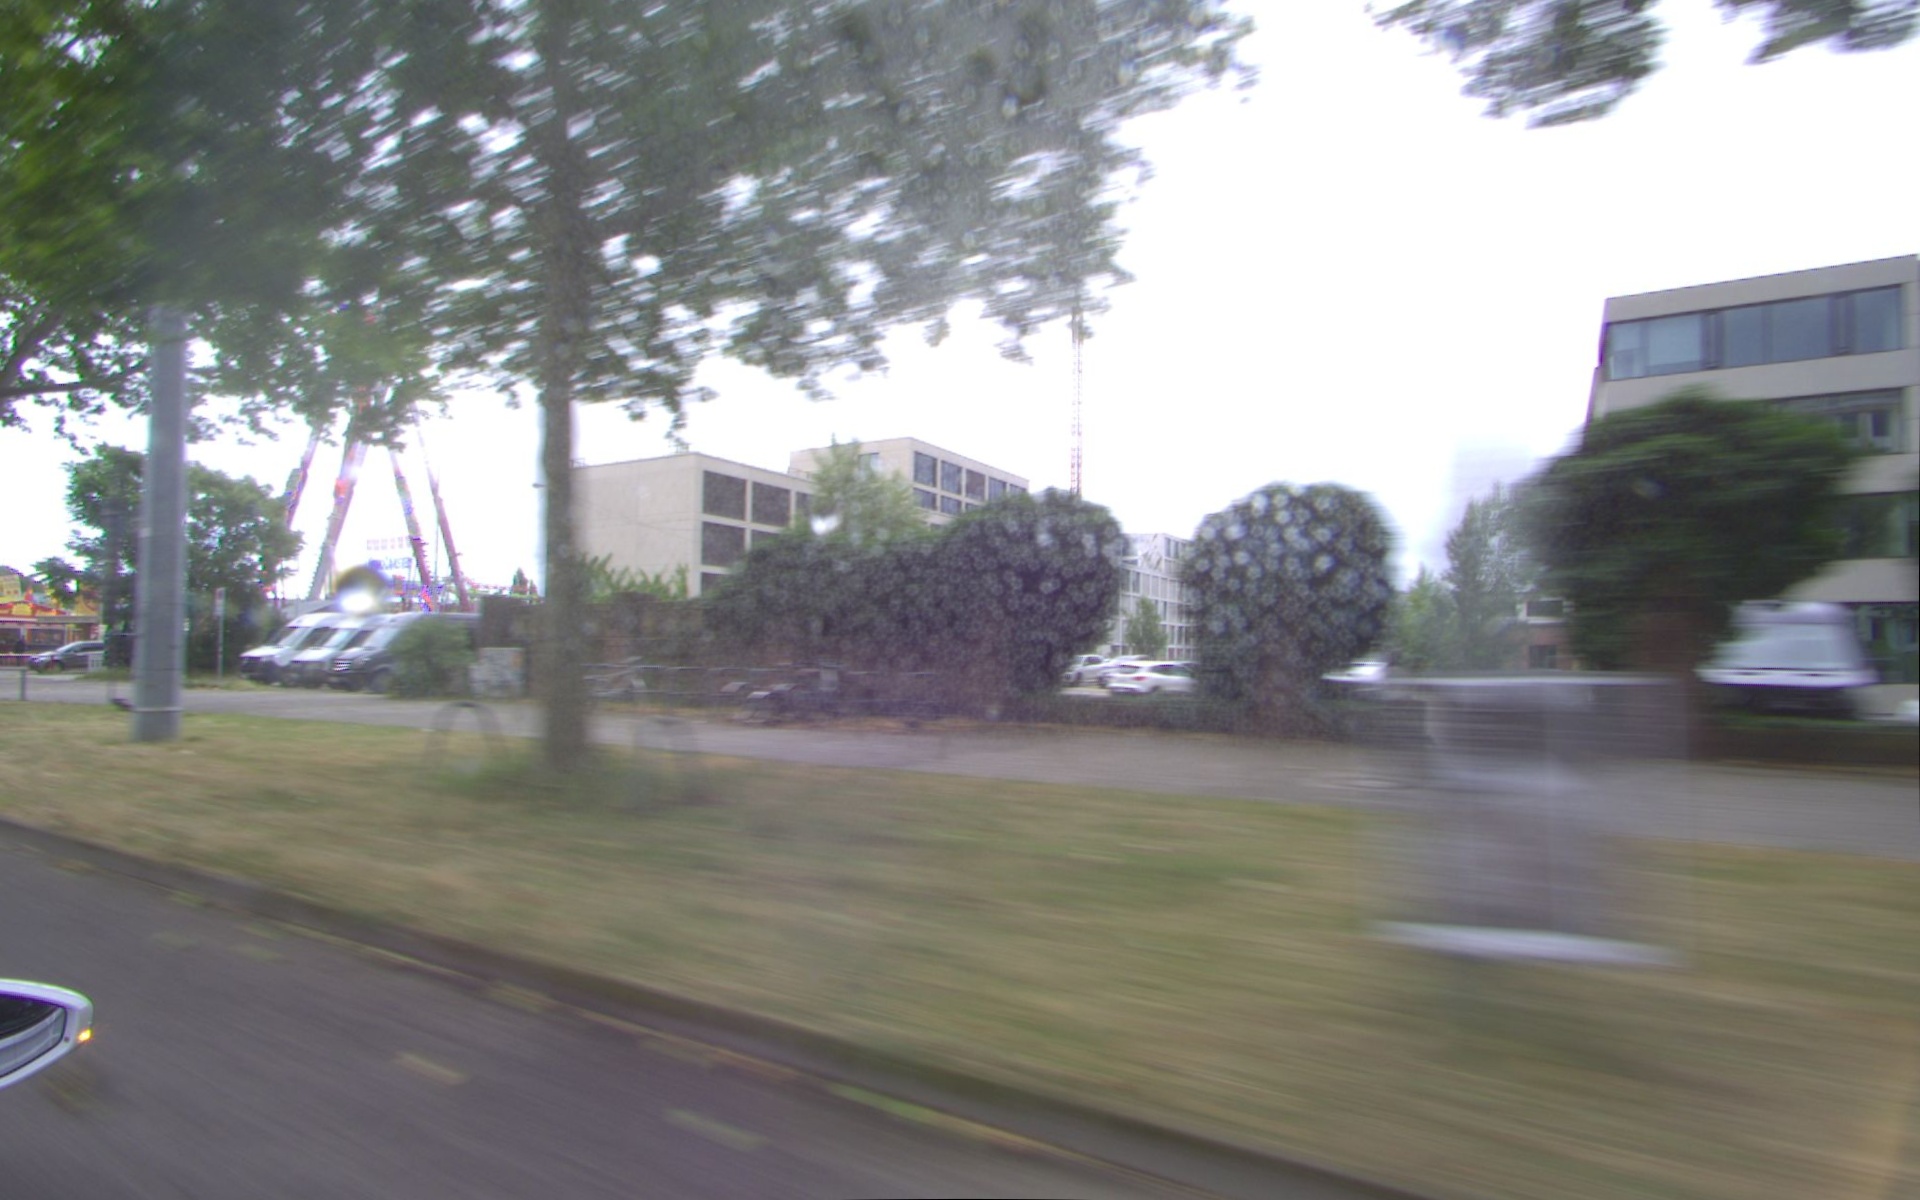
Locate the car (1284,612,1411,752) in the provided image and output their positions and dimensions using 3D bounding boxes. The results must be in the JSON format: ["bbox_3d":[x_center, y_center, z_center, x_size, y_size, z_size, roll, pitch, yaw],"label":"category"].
[{"bbox_3d":[7.497,1.538,19.085,1.640,2.291,5.096,-1,-4,28],"label":"car"}]

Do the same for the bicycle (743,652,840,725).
[{"bbox_3d":[-2.803,1.457,16.846,0.541,1.111,1.898,-1,-2,29],"label":"bicycle"}]

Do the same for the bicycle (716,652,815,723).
[{"bbox_3d":[-3.309,1.471,17.226,0.541,1.108,1.973,-1,-2,29],"label":"bicycle"}]

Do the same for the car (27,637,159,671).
[{"bbox_3d":[-43.323,2.724,50.161,1.970,1.595,4.571,-1,-4,30],"label":"car"}]

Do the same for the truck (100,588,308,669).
[{"bbox_3d":[-38.806,1.594,51.809,2.561,3.869,8.186,-1,-3,30],"label":"truck"}]

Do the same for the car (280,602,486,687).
[{"bbox_3d":[-19.605,1.637,34.373,2.010,2.565,5.785,-1,-5,30],"label":"car"}]

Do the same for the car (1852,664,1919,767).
[{"bbox_3d":[14.295,1.603,13.672,1.973,1.428,5.097,-1,-5,28],"label":"car"}]

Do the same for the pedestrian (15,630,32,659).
[{"bbox_3d":[-56.778,2.703,60.707,0.485,1.708,0.523,0,-2,15],"label":"pedestrian"}]

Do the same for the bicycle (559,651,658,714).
[{"bbox_3d":[-6.683,1.544,19.149,0.541,1.105,1.920,-1,-2,29],"label":"bicycle"}]

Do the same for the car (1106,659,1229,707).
[{"bbox_3d":[7.608,2.984,36.565,4.356,1.638,1.987,3,-4,-35],"label":"car"}]

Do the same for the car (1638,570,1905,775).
[{"bbox_3d":[11.607,1.114,14.794,2.043,2.450,5.235,-1,-5,28],"label":"car"}]

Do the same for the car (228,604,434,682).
[{"bbox_3d":[-22.435,1.596,36.077,2.068,2.587,6.021,-1,-3,29],"label":"car"}]

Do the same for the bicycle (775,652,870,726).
[{"bbox_3d":[-2.256,1.443,16.655,0.541,1.119,1.888,-1,-2,29],"label":"bicycle"}]

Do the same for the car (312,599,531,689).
[{"bbox_3d":[-17.175,1.512,32.319,2.140,2.552,5.780,0,-5,33],"label":"car"}]

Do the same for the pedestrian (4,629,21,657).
[{"bbox_3d":[-56.739,2.570,59.980,0.485,1.708,0.523,0,-2,15],"label":"pedestrian"}]

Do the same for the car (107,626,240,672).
[{"bbox_3d":[-37.560,2.317,47.953,1.970,2.039,4.570,0,-2,29],"label":"car"}]
